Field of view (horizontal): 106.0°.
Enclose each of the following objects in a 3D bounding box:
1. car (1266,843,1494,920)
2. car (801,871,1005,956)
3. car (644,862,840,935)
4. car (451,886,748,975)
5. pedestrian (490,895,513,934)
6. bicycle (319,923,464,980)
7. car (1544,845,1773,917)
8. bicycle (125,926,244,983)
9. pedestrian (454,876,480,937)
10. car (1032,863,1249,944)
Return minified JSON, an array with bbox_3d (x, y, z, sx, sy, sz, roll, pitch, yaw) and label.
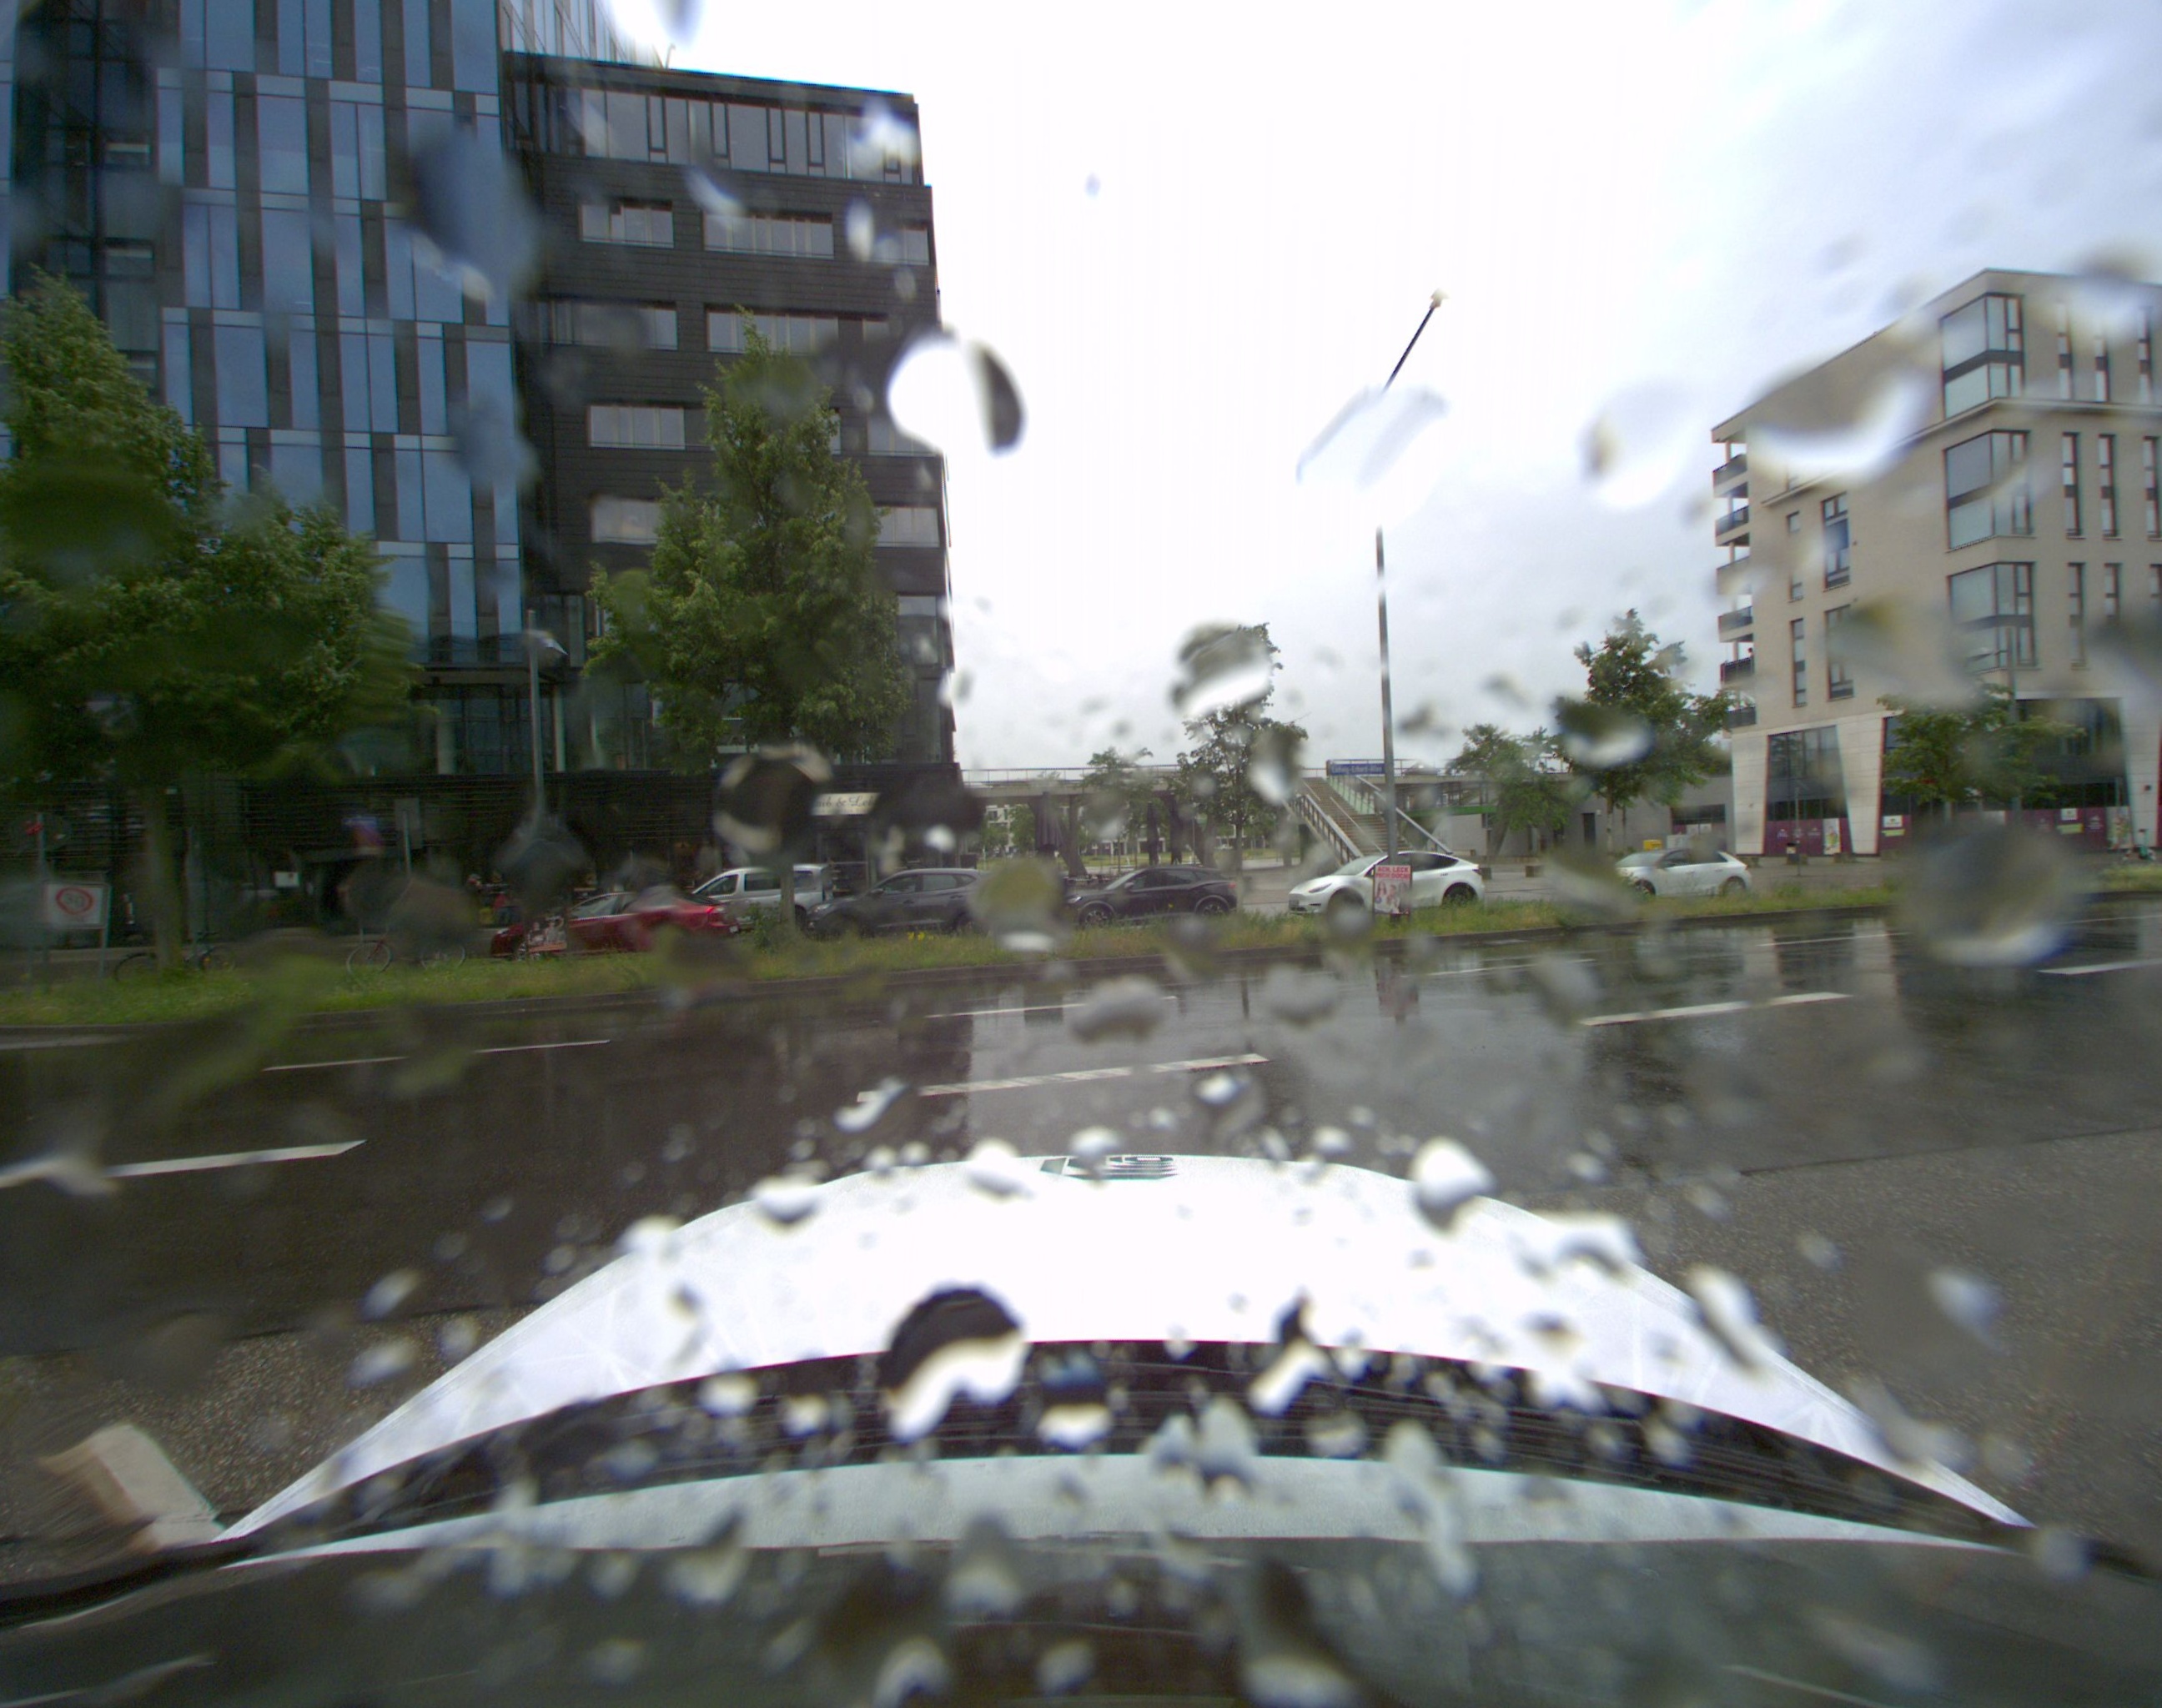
[{"bbox_3d":[7.107,0.612,19.598,4.821,1.707,1.994,0,-1,-9],"label":"car"},{"bbox_3d":[-3.850,1.253,18.121,4.202,1.707,1.994,0,-1,-9],"label":"car"},{"bbox_3d":[-9.250,1.168,22.637,4.709,1.866,1.892,0,-1,-11],"label":"car"},{"bbox_3d":[-9.905,1.535,17.171,4.939,1.455,1.995,-2,0,-8],"label":"car"},{"bbox_3d":[-19.148,1.977,26.900,0.574,1.237,0.452,-1,-1,34],"label":"pedestrian"},{"bbox_3d":[-12.459,1.748,14.783,1.917,0.862,0.570,0,-1,-24],"label":"bicycle"},{"bbox_3d":[14.887,0.661,21.115,4.821,1.707,1.994,0,-1,-9],"label":"car"},{"bbox_3d":[-17.228,1.909,15.684,0.428,0.917,1.470,-1,-1,25],"label":"bicycle"},{"bbox_3d":[-18.746,1.592,24.869,0.580,1.833,0.501,0,-1,-44],"label":"pedestrian"},{"bbox_3d":[1.291,1.079,18.890,4.706,1.707,1.994,0,-1,-9],"label":"car"}]
